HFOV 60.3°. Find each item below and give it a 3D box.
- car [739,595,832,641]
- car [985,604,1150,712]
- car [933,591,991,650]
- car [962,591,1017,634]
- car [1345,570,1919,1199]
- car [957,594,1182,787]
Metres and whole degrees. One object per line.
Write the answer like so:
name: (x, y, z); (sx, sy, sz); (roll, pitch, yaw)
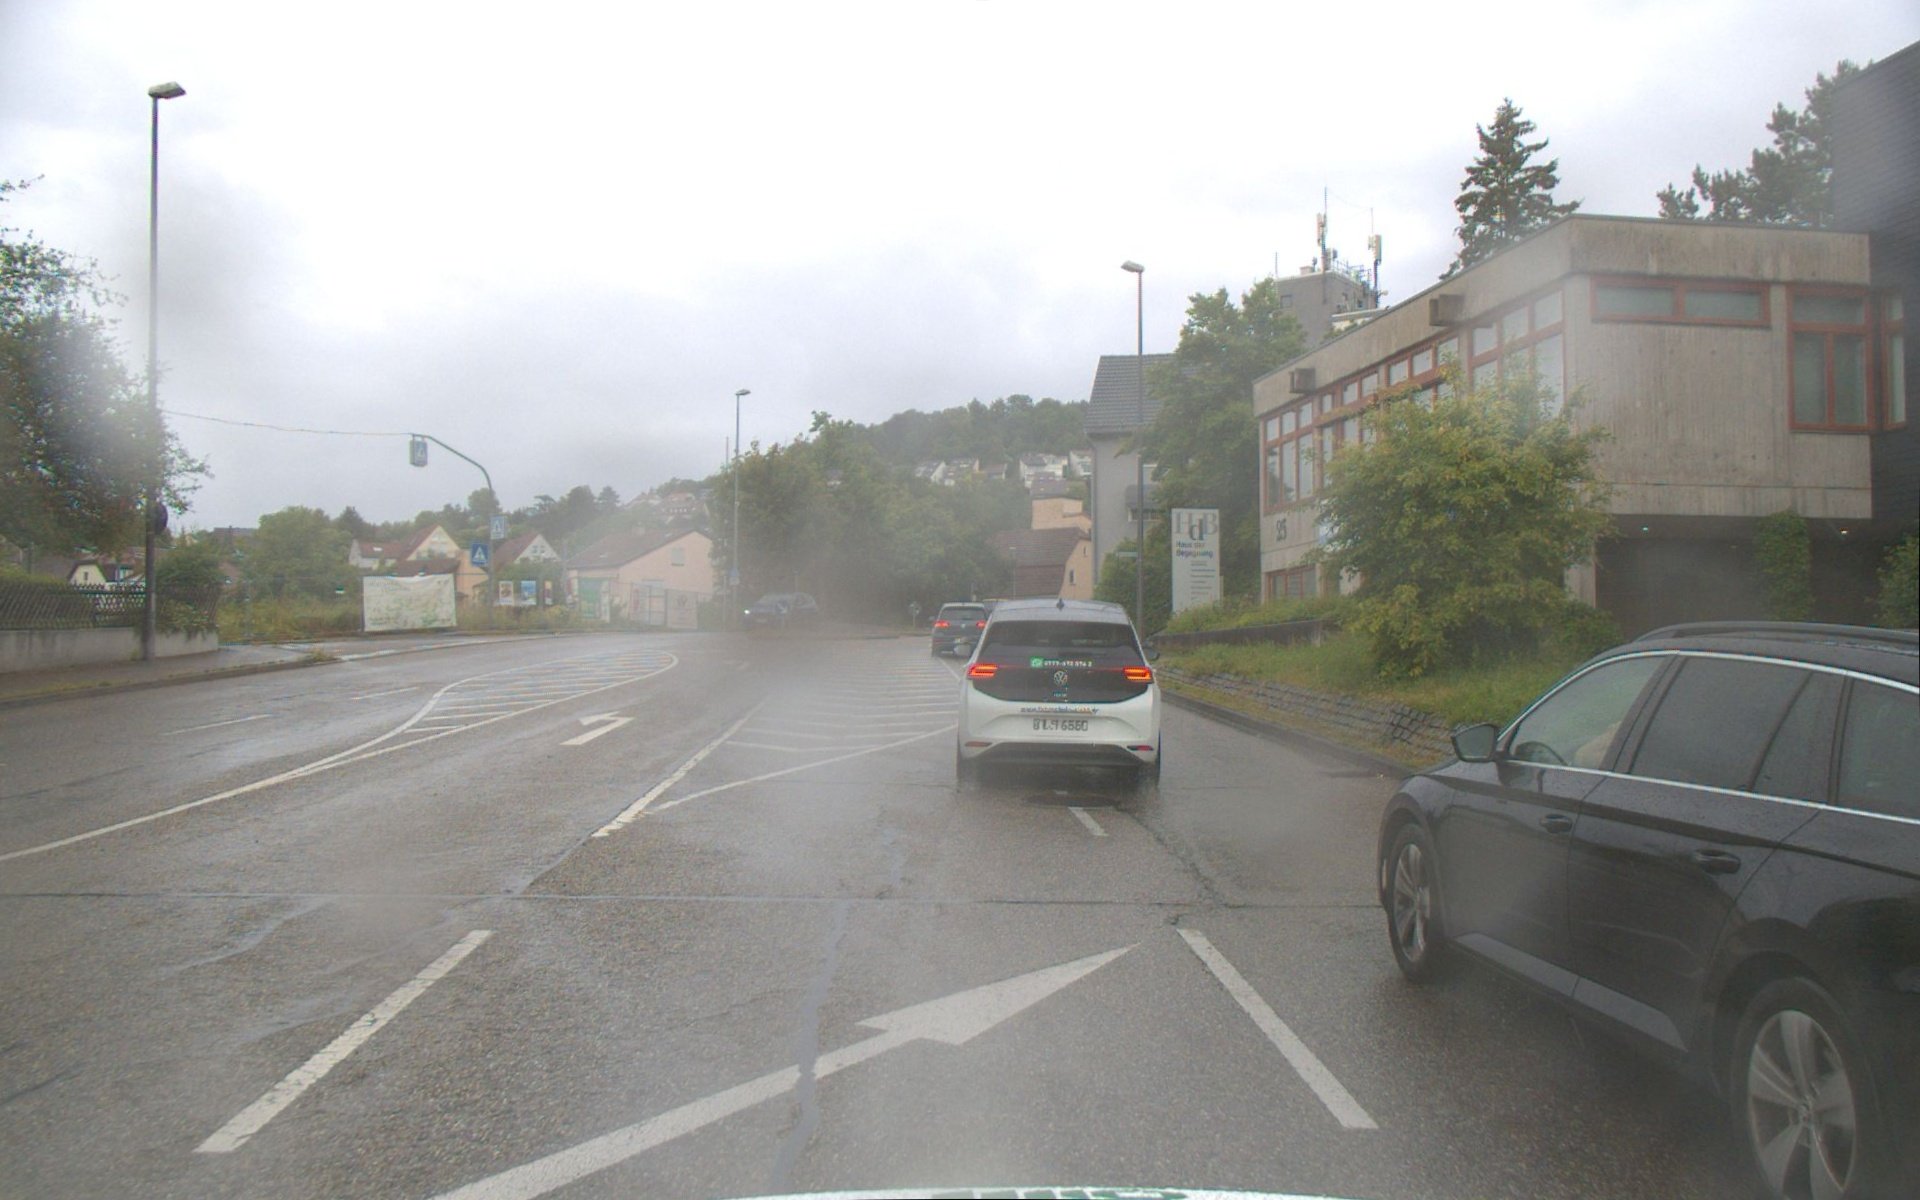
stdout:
car: (-6.848, 0.726, 65.431); (1.951, 1.723, 4.707); (1, -1, 17)
car: (1.487, 0.814, 24.377); (1.812, 1.434, 4.297); (1, -1, -5)
car: (0.013, 0.546, 45.507); (1.535, 1.557, 3.999); (0, 0, -1)
car: (1.118, 0.495, 61.564); (1.952, 1.478, 3.771); (-2, -1, 1)
car: (2.815, 0.767, 5.061); (1.915, 1.534, 4.605); (2, -1, -3)
car: (0.930, 0.757, 15.323); (1.791, 1.526, 4.169); (0, -1, 1)
